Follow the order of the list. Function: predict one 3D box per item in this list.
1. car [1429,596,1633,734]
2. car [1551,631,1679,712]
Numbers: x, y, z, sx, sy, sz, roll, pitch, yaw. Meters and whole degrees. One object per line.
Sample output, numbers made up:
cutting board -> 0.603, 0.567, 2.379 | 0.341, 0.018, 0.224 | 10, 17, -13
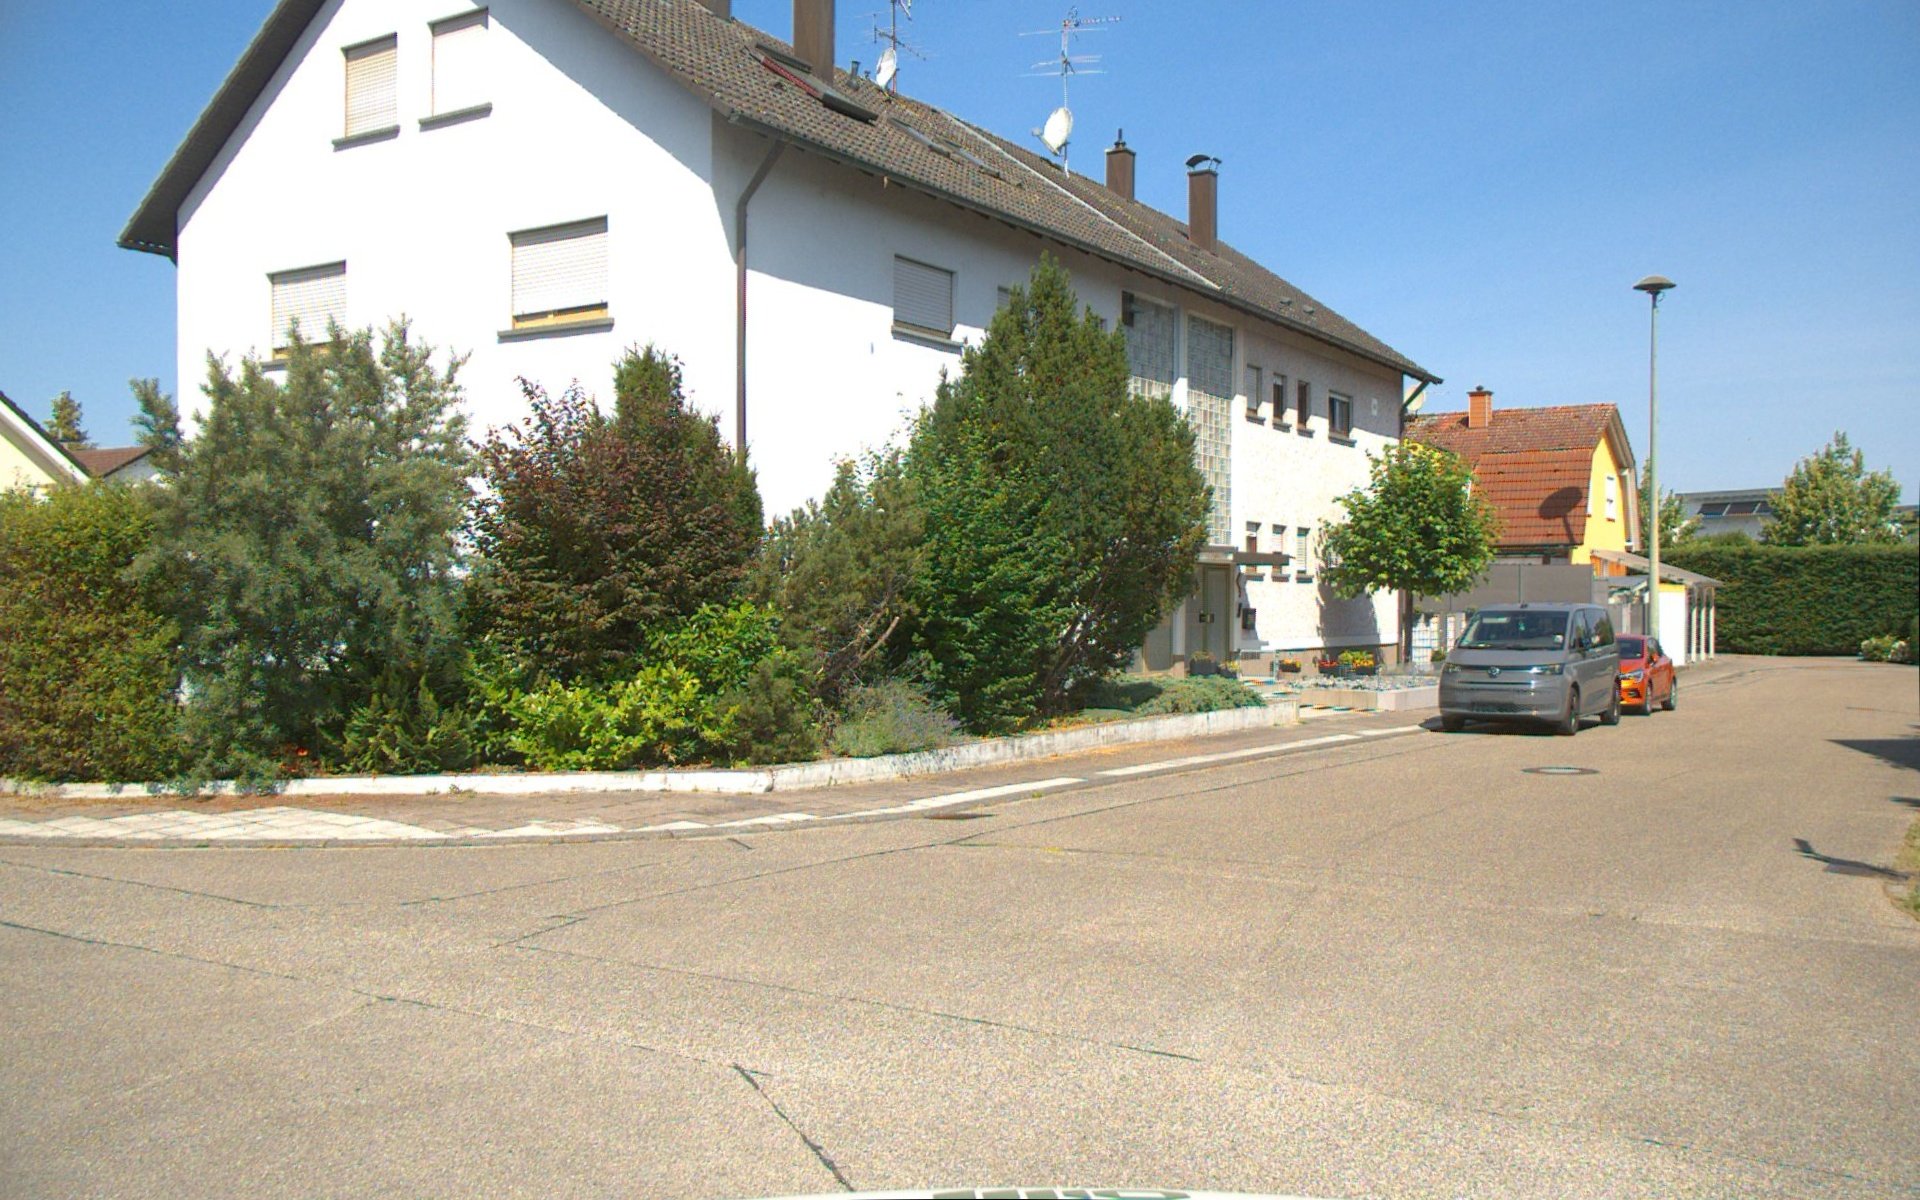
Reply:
car -> 8.858, 0.926, 25.441 | 1.868, 1.902, 4.356 | 1, 0, 34
car -> 12.318, 1.291, 30.993 | 1.622, 1.389, 3.769 | 0, -1, 32
